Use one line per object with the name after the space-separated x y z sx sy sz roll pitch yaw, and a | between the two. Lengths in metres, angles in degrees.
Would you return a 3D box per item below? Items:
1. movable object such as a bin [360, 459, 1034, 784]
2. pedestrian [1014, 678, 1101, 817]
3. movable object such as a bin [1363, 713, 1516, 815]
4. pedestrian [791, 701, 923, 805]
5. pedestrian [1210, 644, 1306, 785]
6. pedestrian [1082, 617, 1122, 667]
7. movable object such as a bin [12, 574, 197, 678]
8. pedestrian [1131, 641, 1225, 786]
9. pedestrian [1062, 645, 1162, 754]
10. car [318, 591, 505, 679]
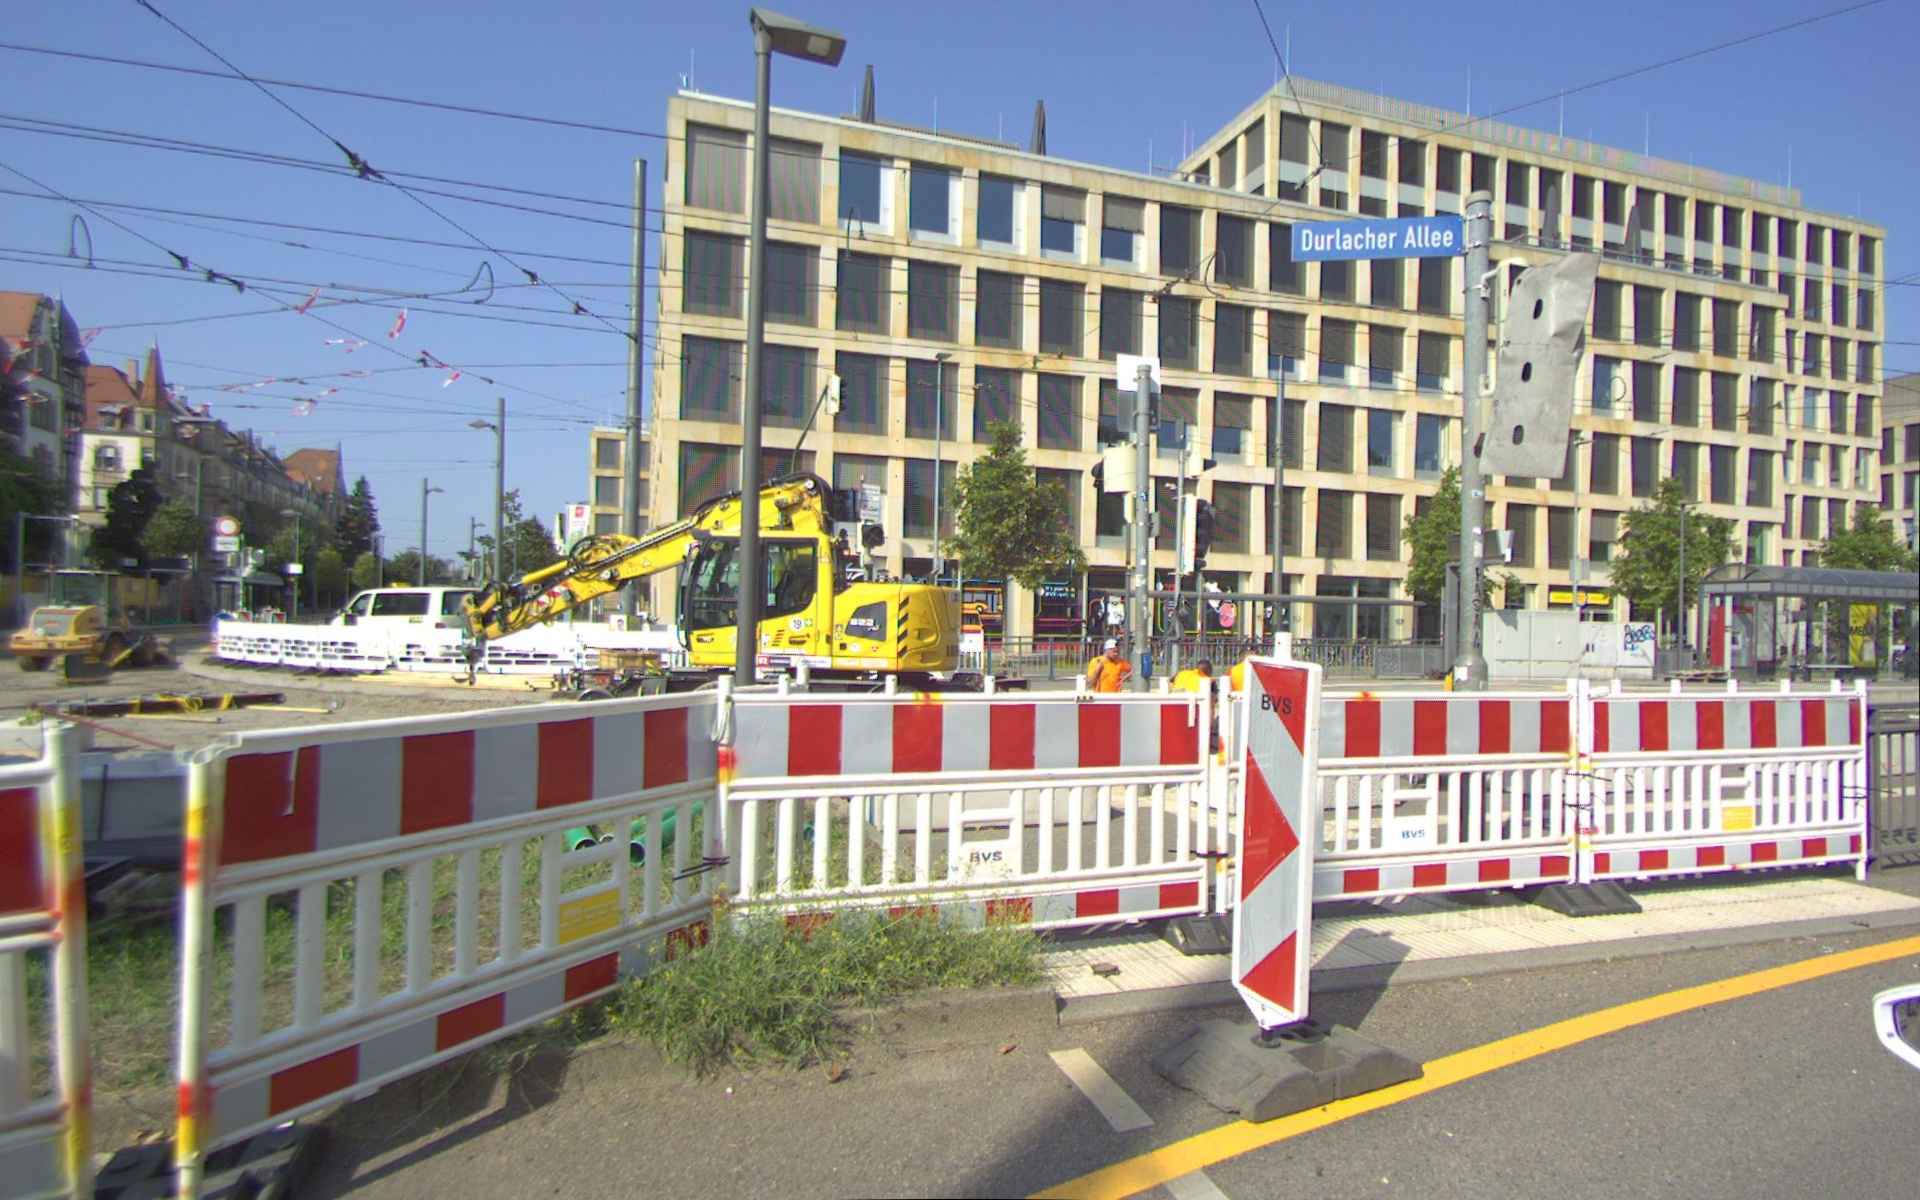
-3.424 0.273 14.782 8.858 4.066 3.517 1 -1 6 | movable object such as a bin
0.951 1.397 9.748 0.782 1.206 0.986 1 -1 6 | pedestrian
4.129 1.392 8.772 0.687 0.661 1.511 1 -1 3 | movable object such as a bin
-0.961 1.292 8.847 0.897 0.644 1.903 1 -1 -14 | pedestrian
2.977 1.123 10.116 0.782 1.324 0.841 1 -1 6 | pedestrian
5.137 1.515 36.293 1.106 1.775 0.975 1 -1 -18 | pedestrian
-25.074 0.756 29.778 2.101 2.775 5.609 2 -1 -18 | movable object such as a bin
2.170 1.098 10.154 0.782 1.324 1.317 1 -1 6 | pedestrian
1.954 1.259 13.020 0.966 1.324 1.015 1 -1 -14 | pedestrian
-13.952 0.847 25.470 5.028 2.057 1.813 0 -1 30 | car
